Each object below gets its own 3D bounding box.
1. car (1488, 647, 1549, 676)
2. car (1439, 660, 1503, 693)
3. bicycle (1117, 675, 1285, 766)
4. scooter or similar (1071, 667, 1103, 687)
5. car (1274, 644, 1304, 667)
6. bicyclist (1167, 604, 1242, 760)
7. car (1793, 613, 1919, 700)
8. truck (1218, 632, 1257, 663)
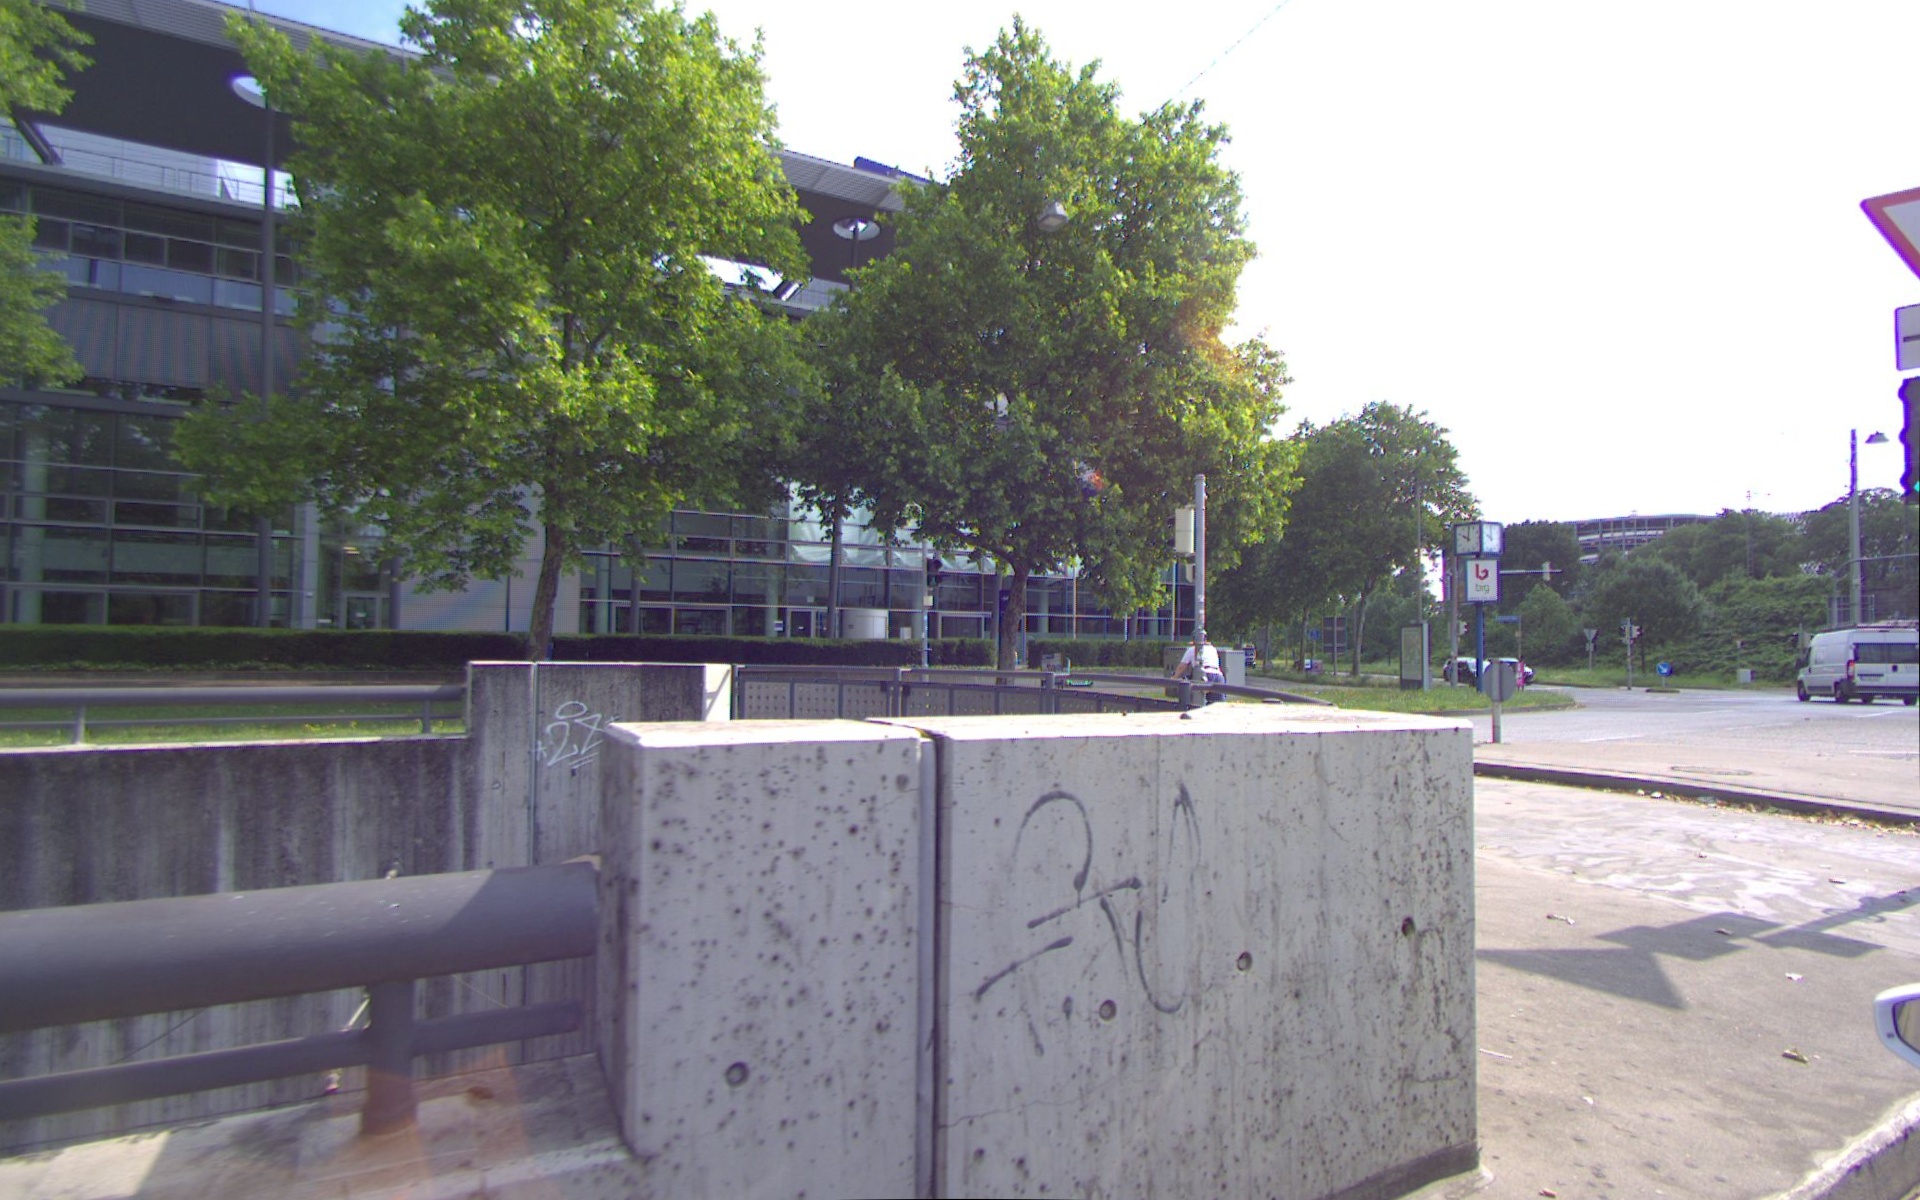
[{"bbox_3d":[32.959,3.611,59.378,1.678,1.608,4.366,2,-2,9],"label":"car"},{"bbox_3d":[28.193,4.182,55.538,1.833,1.594,4.572,0,-2,9],"label":"car"},{"bbox_3d":[3.196,1.577,13.568,0.877,1.100,2.162,1,-4,-34],"label":"bicycle"},{"bbox_3d":[4.692,2.846,37.192,1.213,0.722,0.239,1,0,-24],"label":"scooter or similar"},{"bbox_3d":[29.027,4.894,88.684,1.700,1.593,4.001,4,3,8],"label":"car"},{"bbox_3d":[3.321,1.091,13.654,0.597,2.040,0.724,0,-3,-34],"label":"bicyclist"},{"bbox_3d":[30.888,1.936,34.639,2.163,2.761,4.928,-1,-3,26],"label":"car"},{"bbox_3d":[39.494,6.698,143.529,2.606,3.940,10.158,1,0,-1],"label":"truck"}]
